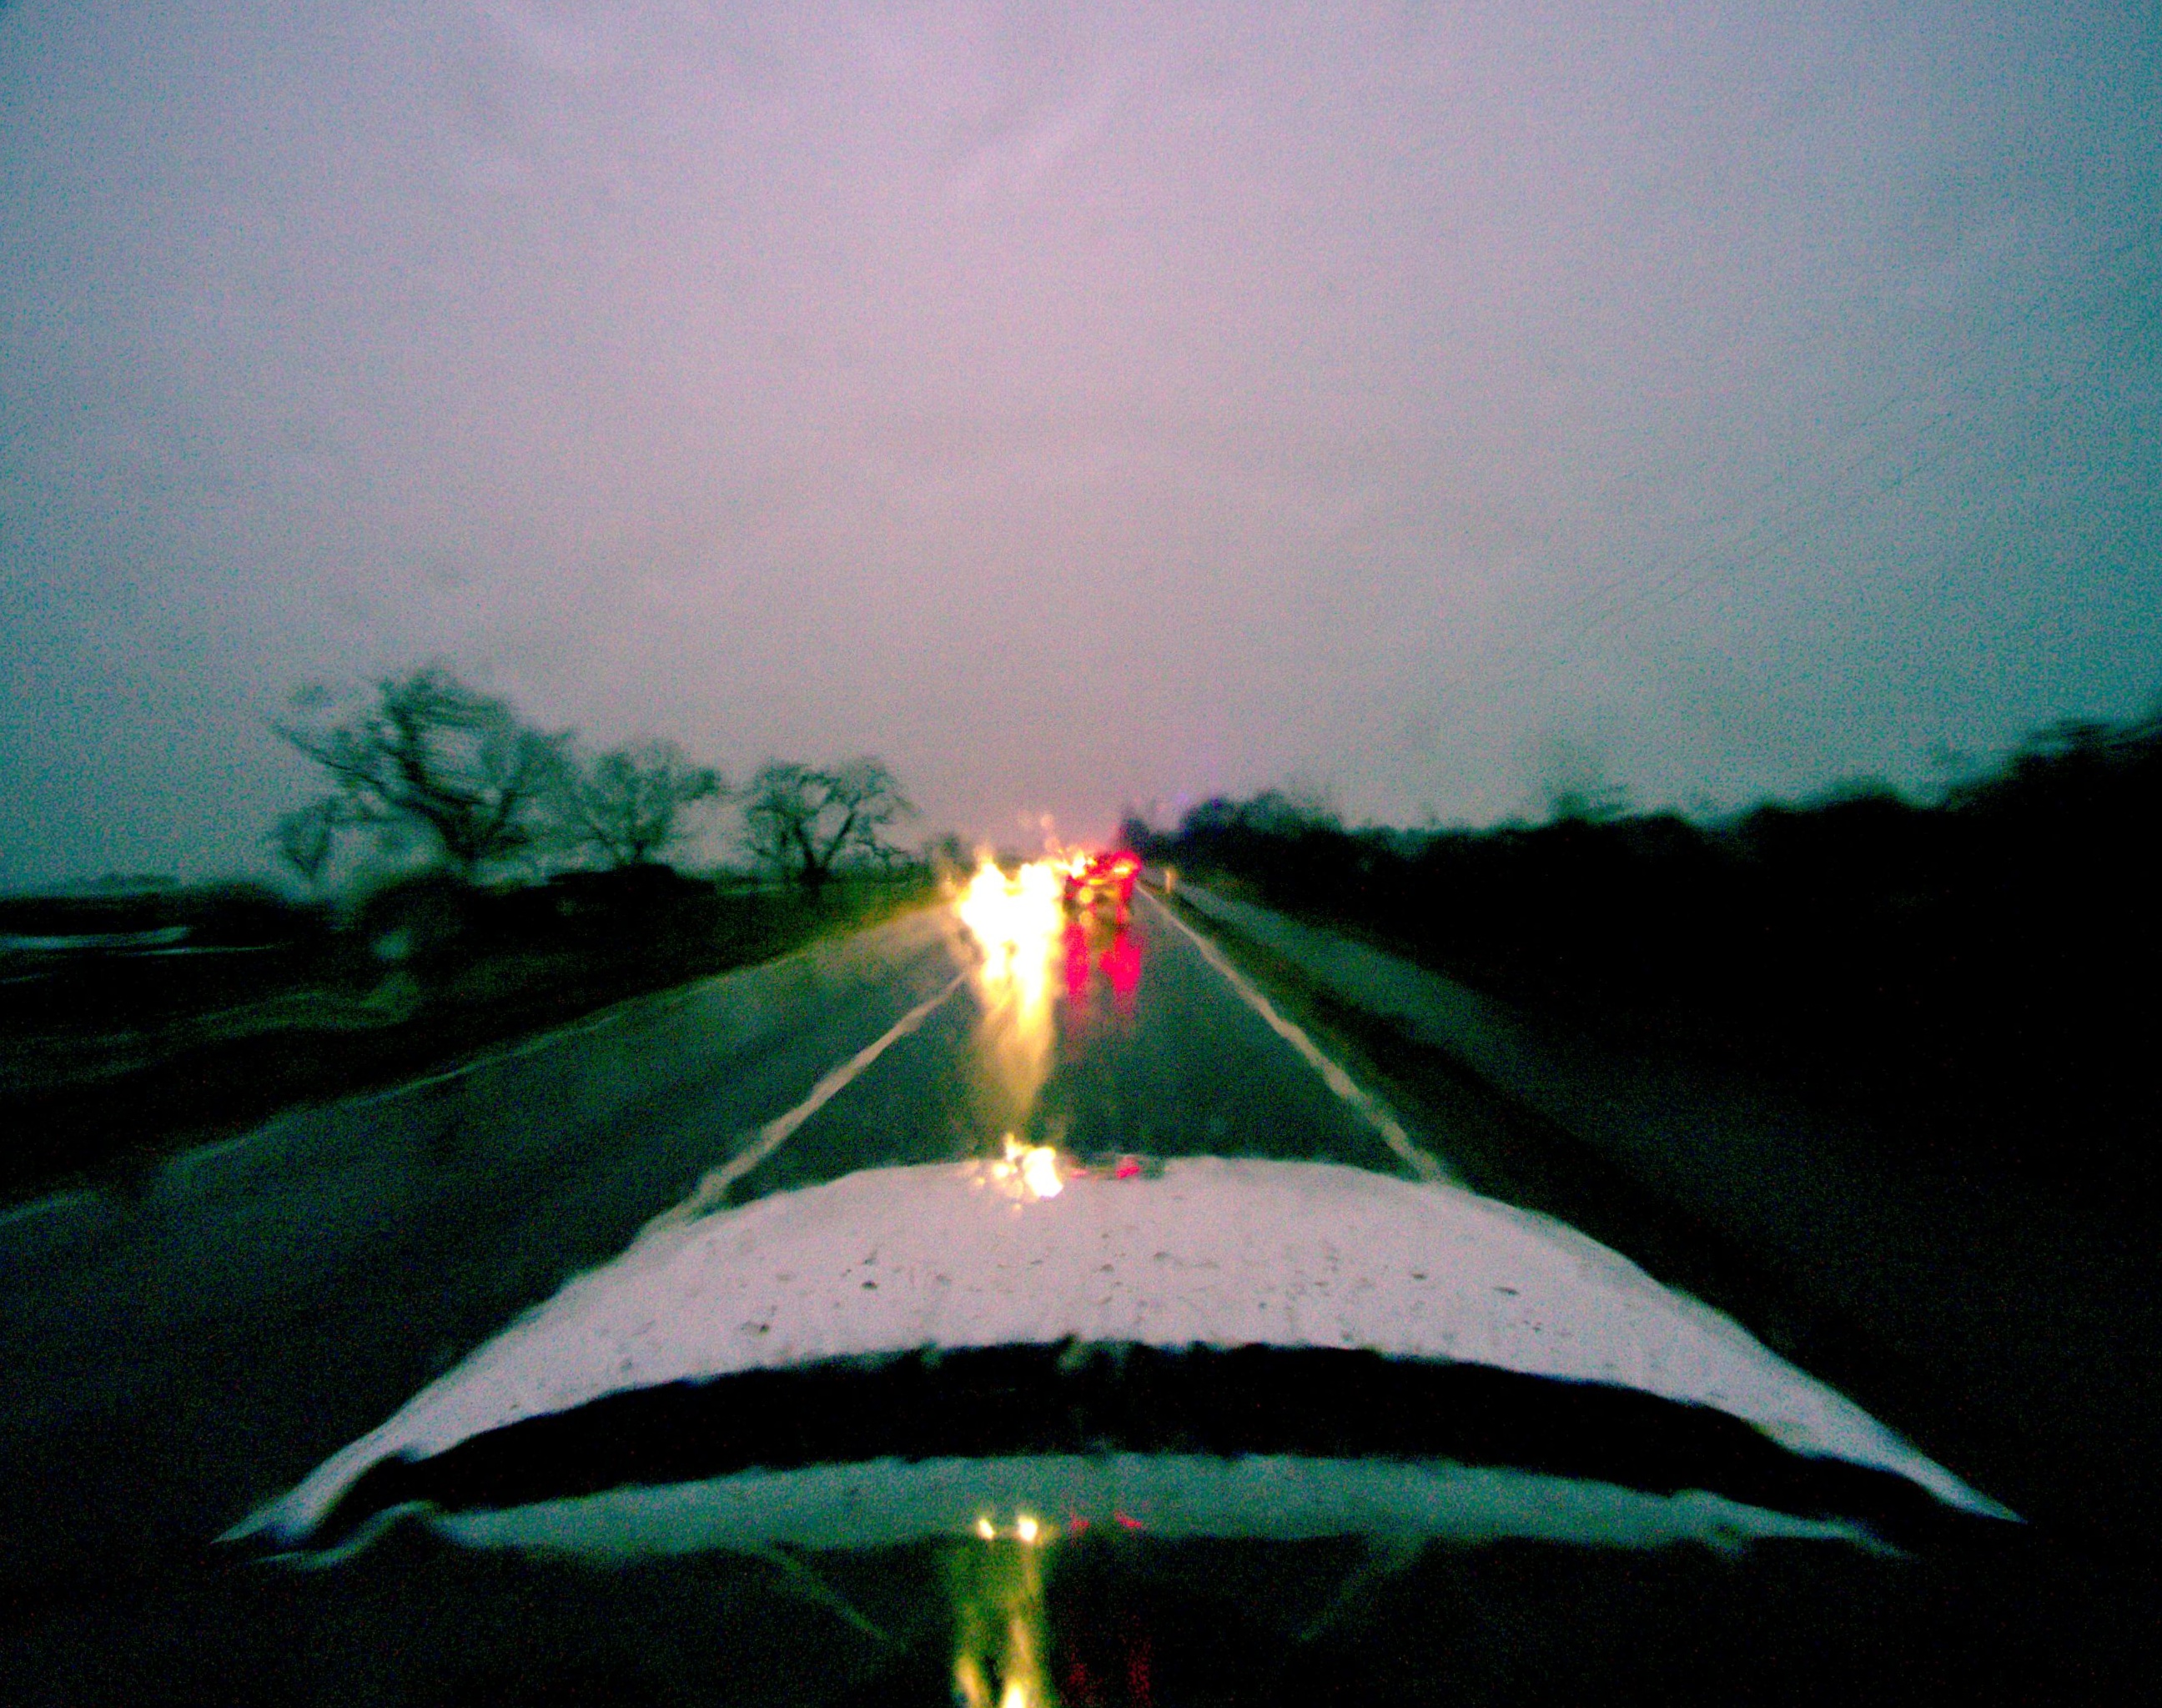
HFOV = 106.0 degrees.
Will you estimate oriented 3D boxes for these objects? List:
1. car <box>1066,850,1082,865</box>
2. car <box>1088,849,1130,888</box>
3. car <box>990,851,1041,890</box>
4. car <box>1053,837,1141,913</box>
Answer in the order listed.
[{"bbox_3d":[-0.895,0.452,106.235,1.818,1.806,4.495,-3,0,1],"label":"car"},{"bbox_3d":[1.436,0.715,41.577,1.986,1.849,4.002,0,0,2],"label":"car"},{"bbox_3d":[-2.829,0.693,36.172,1.755,1.555,4.002,-3,0,2],"label":"car"},{"bbox_3d":[0.483,0.502,22.370,2.112,1.820,4.982,-1,0,2],"label":"car"}]
